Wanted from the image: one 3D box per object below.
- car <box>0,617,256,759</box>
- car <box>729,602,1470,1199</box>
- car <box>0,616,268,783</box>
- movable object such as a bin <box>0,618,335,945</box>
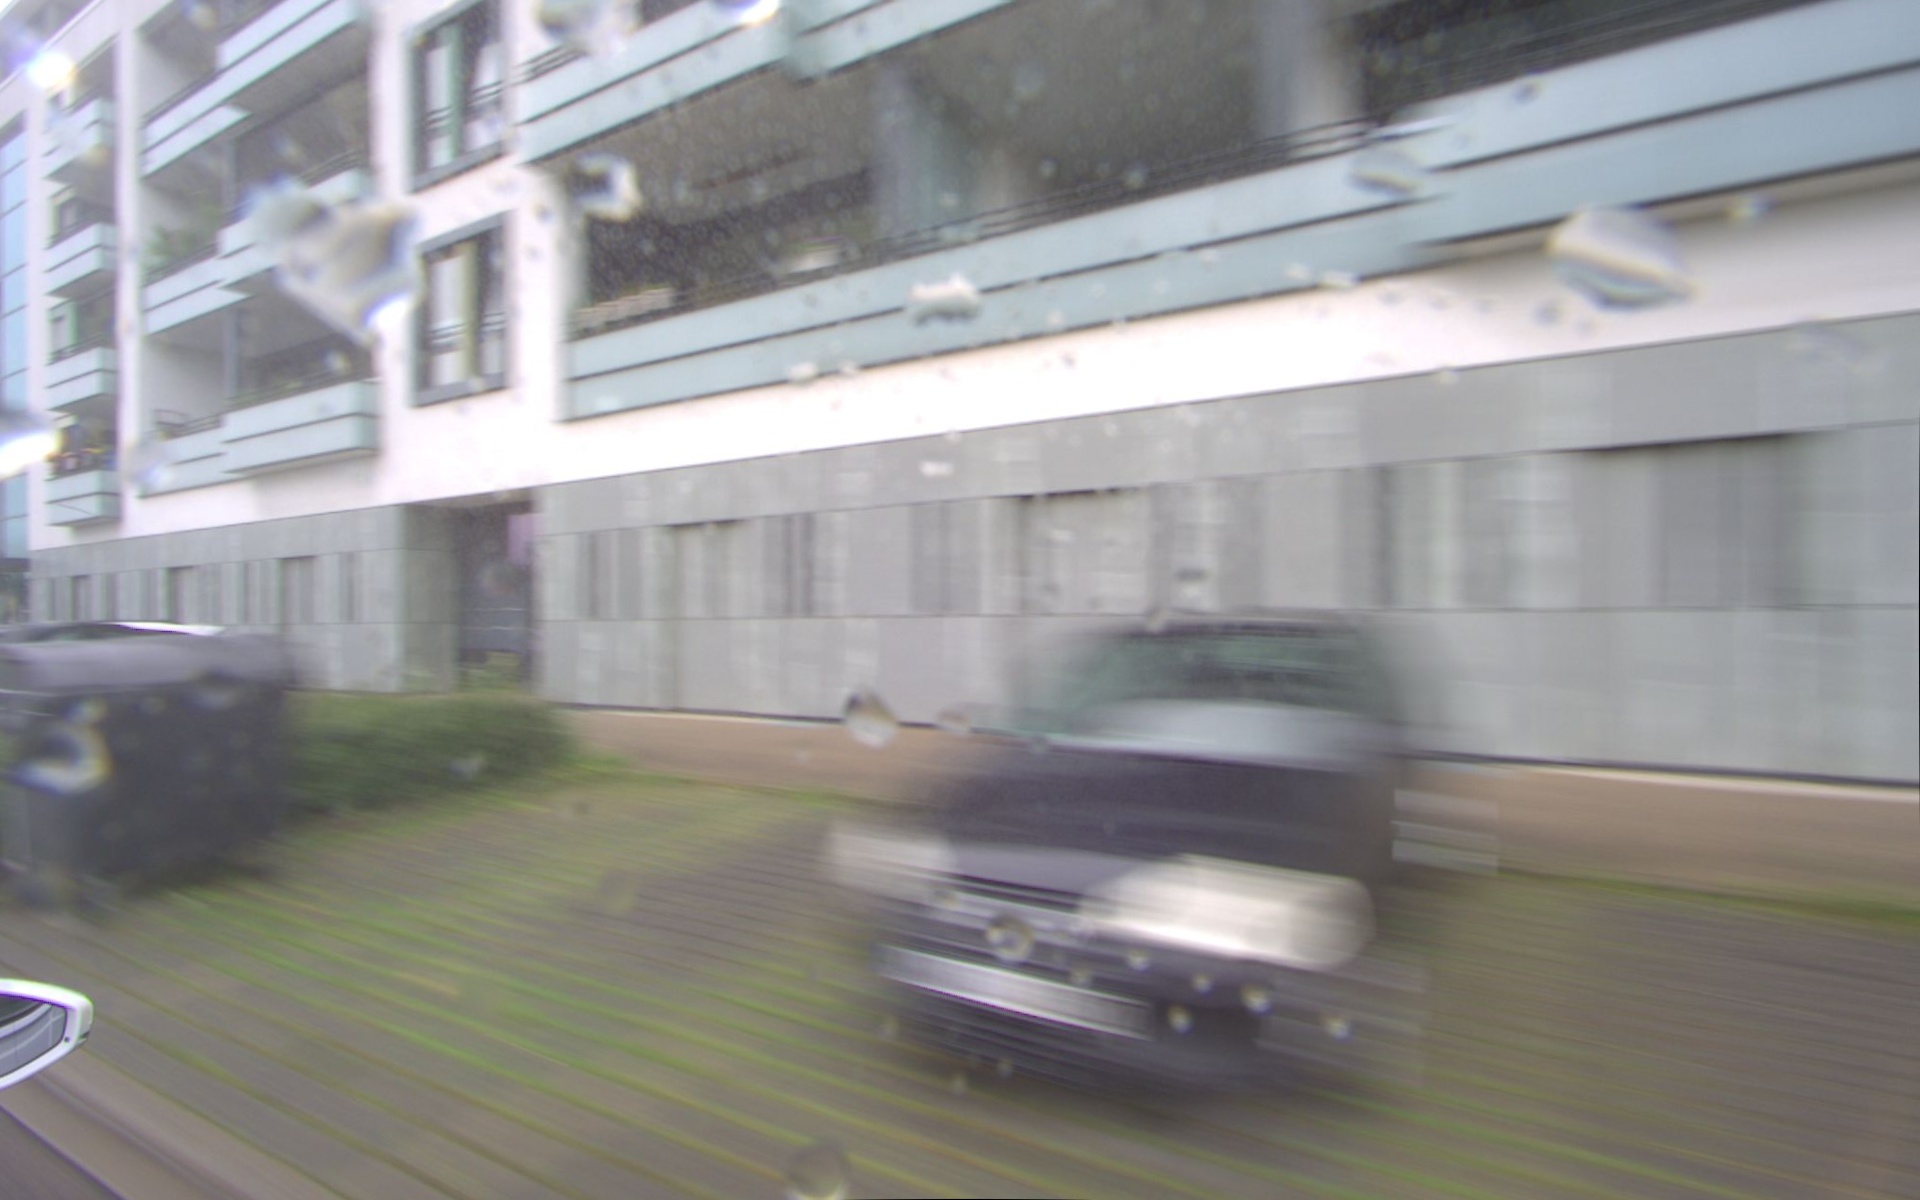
[{"bbox_3d":[-11.674,1.071,12.474,1.866,1.550,4.336,-1,1,32],"label":"car"},{"bbox_3d":[1.031,0.809,4.355,1.738,1.511,3.836,-1,1,33],"label":"car"},{"bbox_3d":[-9.292,0.990,10.900,1.188,1.527,2.622,-1,1,26],"label":"car"},{"bbox_3d":[-4.702,0.898,5.749,1.139,1.513,1.492,-1,2,32],"label":"movable object such as a bin"}]
